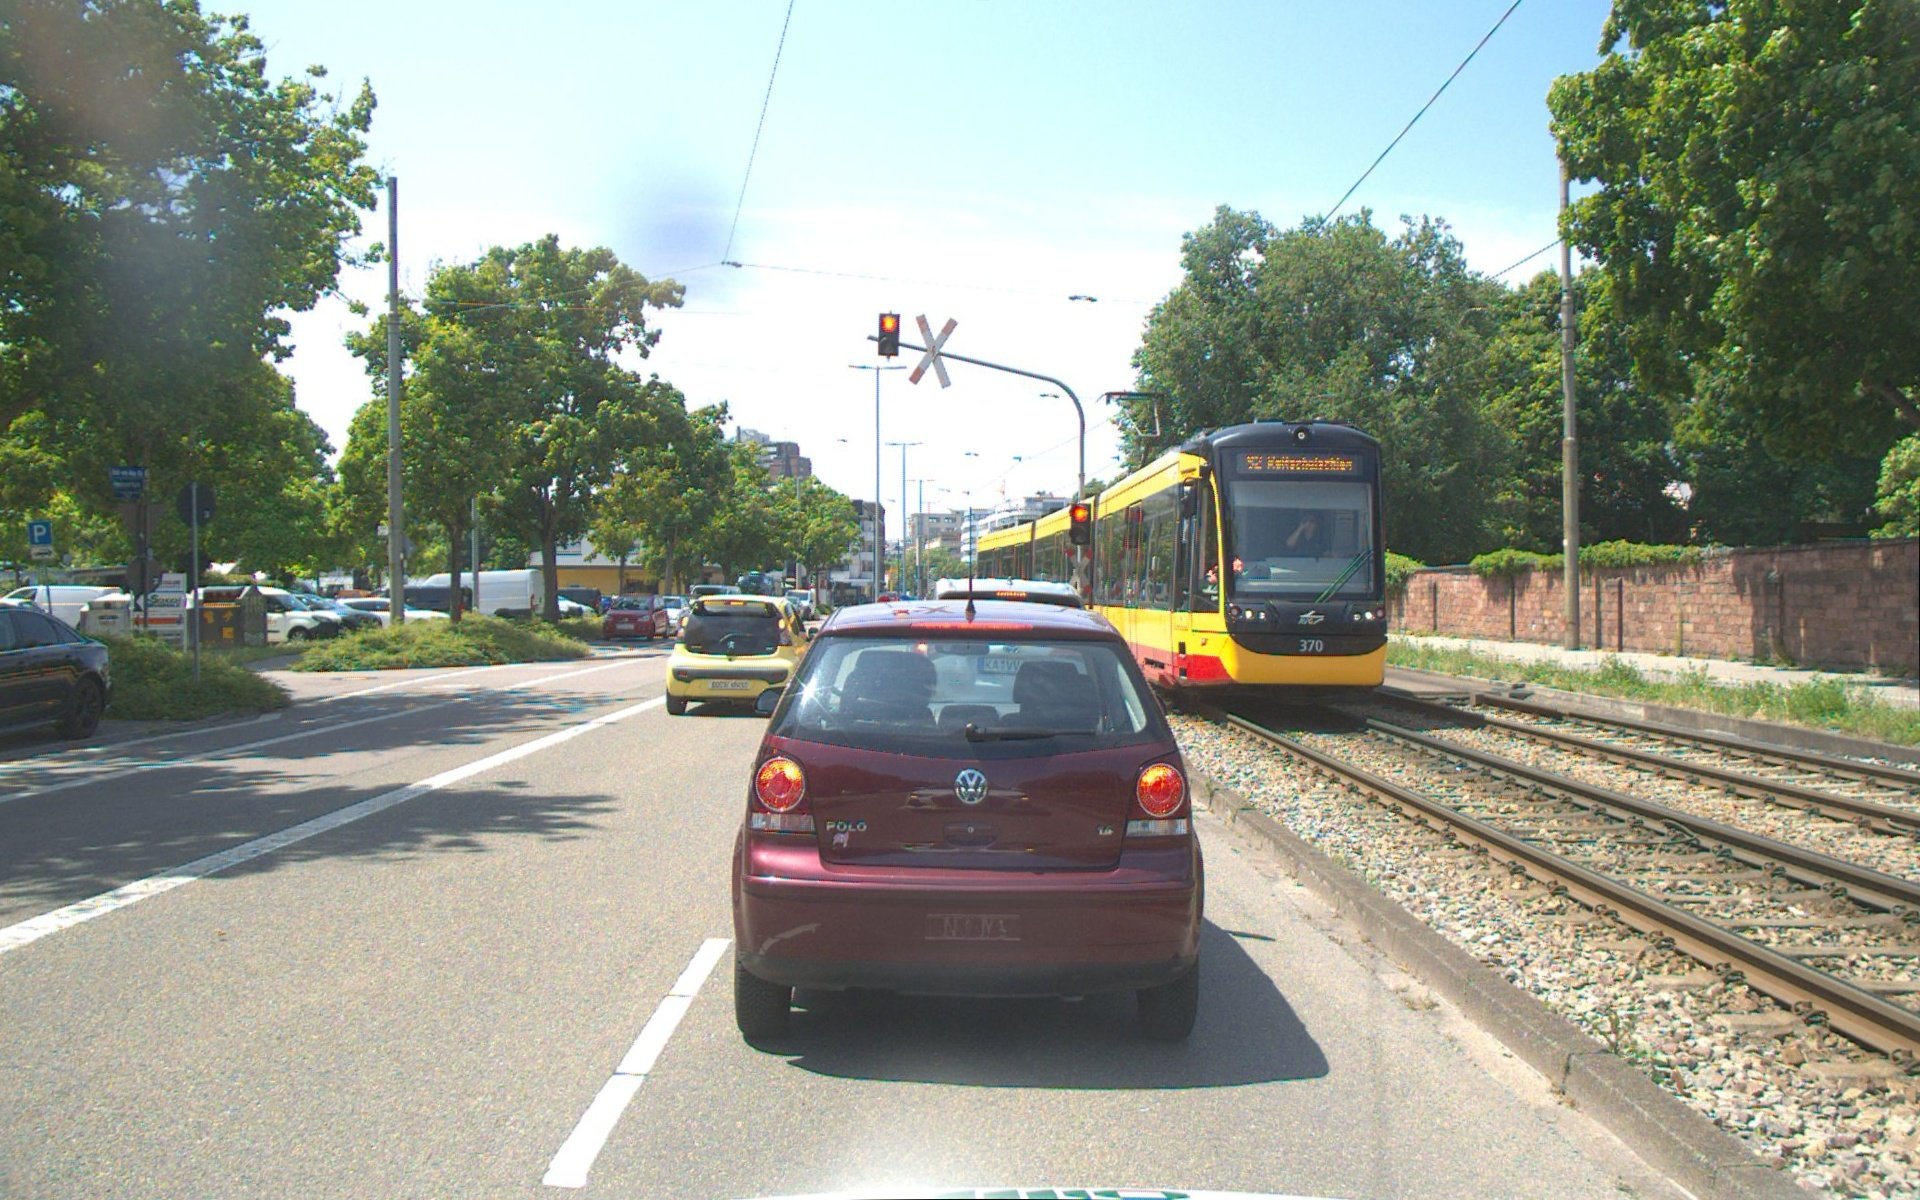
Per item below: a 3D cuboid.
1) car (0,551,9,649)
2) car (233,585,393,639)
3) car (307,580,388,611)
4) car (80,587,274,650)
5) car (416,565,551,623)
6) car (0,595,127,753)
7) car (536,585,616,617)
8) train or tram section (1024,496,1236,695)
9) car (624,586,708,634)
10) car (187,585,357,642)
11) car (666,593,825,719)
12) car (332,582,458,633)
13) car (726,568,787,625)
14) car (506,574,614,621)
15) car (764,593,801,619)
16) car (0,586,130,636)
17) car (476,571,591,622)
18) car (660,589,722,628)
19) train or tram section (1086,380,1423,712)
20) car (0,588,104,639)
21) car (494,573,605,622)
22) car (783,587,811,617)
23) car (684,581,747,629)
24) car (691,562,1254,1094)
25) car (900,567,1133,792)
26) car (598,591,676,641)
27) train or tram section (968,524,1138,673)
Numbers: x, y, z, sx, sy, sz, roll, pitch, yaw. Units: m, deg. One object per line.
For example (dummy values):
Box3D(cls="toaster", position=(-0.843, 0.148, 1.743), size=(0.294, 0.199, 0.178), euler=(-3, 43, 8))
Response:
Box3D(cls="car", position=(-33.107, -0.123, 50.403), size=(6.714, 3.017, 2.363), euler=(2, -1, -2))
Box3D(cls="car", position=(-20.372, 0.369, 52.161), size=(4.251, 1.612, 1.914), euler=(0, 0, 5))
Box3D(cls="car", position=(-35.326, -0.230, 95.450), size=(3.939, 1.645, 1.816), euler=(2, -1, -2))
Box3D(cls="car", position=(-20.936, 0.485, 44.343), size=(4.256, 1.612, 1.912), euler=(-1, 0, -3))
Box3D(cls="car", position=(-20.293, -0.235, 70.635), size=(4.993, 2.283, 2.378), euler=(2, -1, 0))
Box3D(cls="car", position=(-10.307, 0.727, 16.493), size=(1.782, 1.502, 4.448), euler=(2, 0, -1))
Box3D(cls="car", position=(-21.194, 0.066, 91.423), size=(3.938, 1.645, 1.816), euler=(2, -1, 0))
Box3D(cls="train or tram section", position=(3.428, -0.135, 36.715), size=(2.687, 3.672, 10.940), euler=(2, 0, -4))
Box3D(cls="car", position=(-10.740, 0.379, 60.787), size=(1.934, 1.629, 4.560), euler=(2, -1, 4))
Box3D(cls="car", position=(-20.459, 0.389, 49.280), size=(4.251, 1.612, 1.914), euler=(0, 0, 5))
Box3D(cls="car", position=(-2.691, 0.657, 21.403), size=(1.656, 1.435, 3.514), euler=(2, 0, -2))
Box3D(cls="car", position=(-20.513, 0.256, 60.192), size=(3.906, 1.776, 1.998), euler=(-1, 0, -2))
Box3D(cls="car", position=(-10.307, -0.140, 84.078), size=(2.313, 2.739, 5.307), euler=(2, -1, 0))
Box3D(cls="car", position=(-21.013, -0.113, 87.022), size=(4.993, 2.283, 2.378), euler=(2, -1, 0))
Box3D(cls="car", position=(-10.840, 0.387, 101.333), size=(1.581, 1.466, 4.001), euler=(2, -1, 3))
Box3D(cls="car", position=(-32.741, 0.405, 60.390), size=(3.913, 1.682, 1.812), euler=(2, -1, -9))
Box3D(cls="car", position=(-21.072, -0.160, 81.952), size=(4.993, 2.283, 2.378), euler=(2, -1, 0))
Box3D(cls="car", position=(-10.624, 0.345, 65.508), size=(1.581, 1.466, 4.001), euler=(2, -1, 3))
Box3D(cls="train or tram section", position=(3.838, -0.657, 25.209), size=(2.685, 3.672, 12.869), euler=(2, 0, 0))
Box3D(cls="car", position=(-32.461, 0.460, 57.966), size=(3.913, 1.682, 1.812), euler=(2, -1, -9))
Box3D(cls="car", position=(-20.899, -0.132, 84.427), size=(4.993, 2.283, 2.378), euler=(2, -1, 0))
Box3D(cls="car", position=(-10.591, 0.130, 107.354), size=(1.741, 1.860, 3.995), euler=(2, -1, -6))
Box3D(cls="car", position=(-10.452, 0.236, 71.031), size=(1.746, 1.914, 4.787), euler=(2, -1, 2))
Box3D(cls="car", position=(-0.009, 0.669, 6.920), size=(1.638, 1.548, 3.999), euler=(2, 0, -2))
Box3D(cls="car", position=(0.384, 0.598, 14.646), size=(1.741, 1.676, 3.999), euler=(2, 0, -2))
Box3D(cls="car", position=(-10.546, 0.539, 54.240), size=(1.628, 1.523, 4.000), euler=(2, -1, 1))
Box3D(cls="train or tram section", position=(2.380, -0.085, 47.137), size=(2.689, 3.672, 10.931), euler=(2, 0, -8))
